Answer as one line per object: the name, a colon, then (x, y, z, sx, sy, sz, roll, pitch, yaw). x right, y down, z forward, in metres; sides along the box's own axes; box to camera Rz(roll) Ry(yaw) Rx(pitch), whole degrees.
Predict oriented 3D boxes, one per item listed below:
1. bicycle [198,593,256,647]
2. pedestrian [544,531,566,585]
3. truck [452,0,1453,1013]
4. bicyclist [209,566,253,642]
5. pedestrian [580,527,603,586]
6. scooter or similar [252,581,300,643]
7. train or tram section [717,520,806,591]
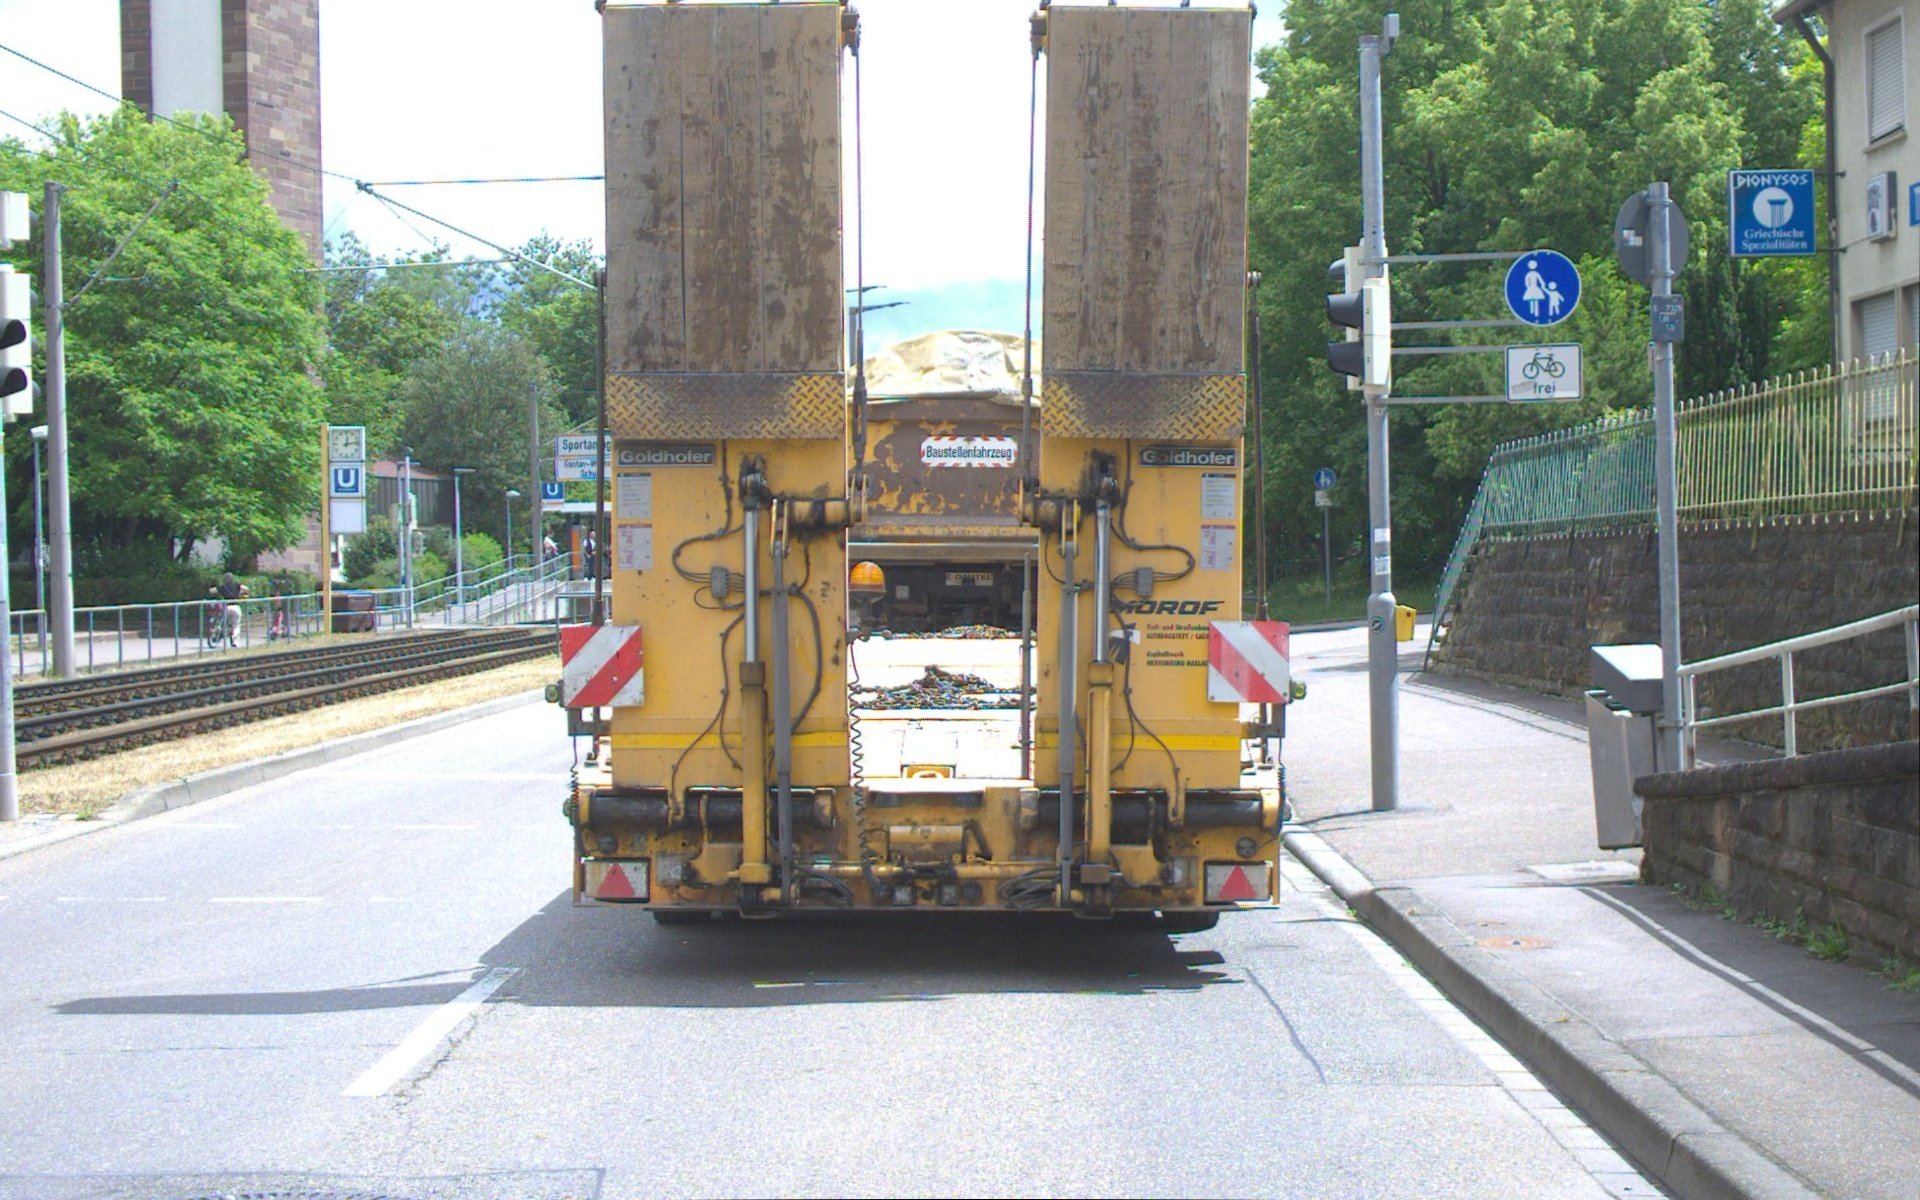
bicycle: (-13.863, 0.367, 65.056, 0.637, 0.990, 1.928, 1, 0, 1)
pedestrian: (-13.343, -1.375, 113.275, 0.584, 1.771, 0.576, 1, 0, 2)
truck: (-0.149, -0.516, 18.663, 3.402, 3.719, 13.739, -1, 0, -1)
bicyclist: (-13.842, 0.074, 65.324, 0.633, 1.424, 0.790, 1, 0, 1)
pedestrian: (-12.641, -1.507, 117.970, 0.712, 2.007, 0.732, 1, 0, -1)
scooter or similar: (-14.099, 0.236, 70.873, 0.649, 1.233, 1.401, 1, 1, 2)
train or tram section: (-10.218, -2.243, 179.200, 3.108, 3.453, 18.825, 1, 0, 1)
